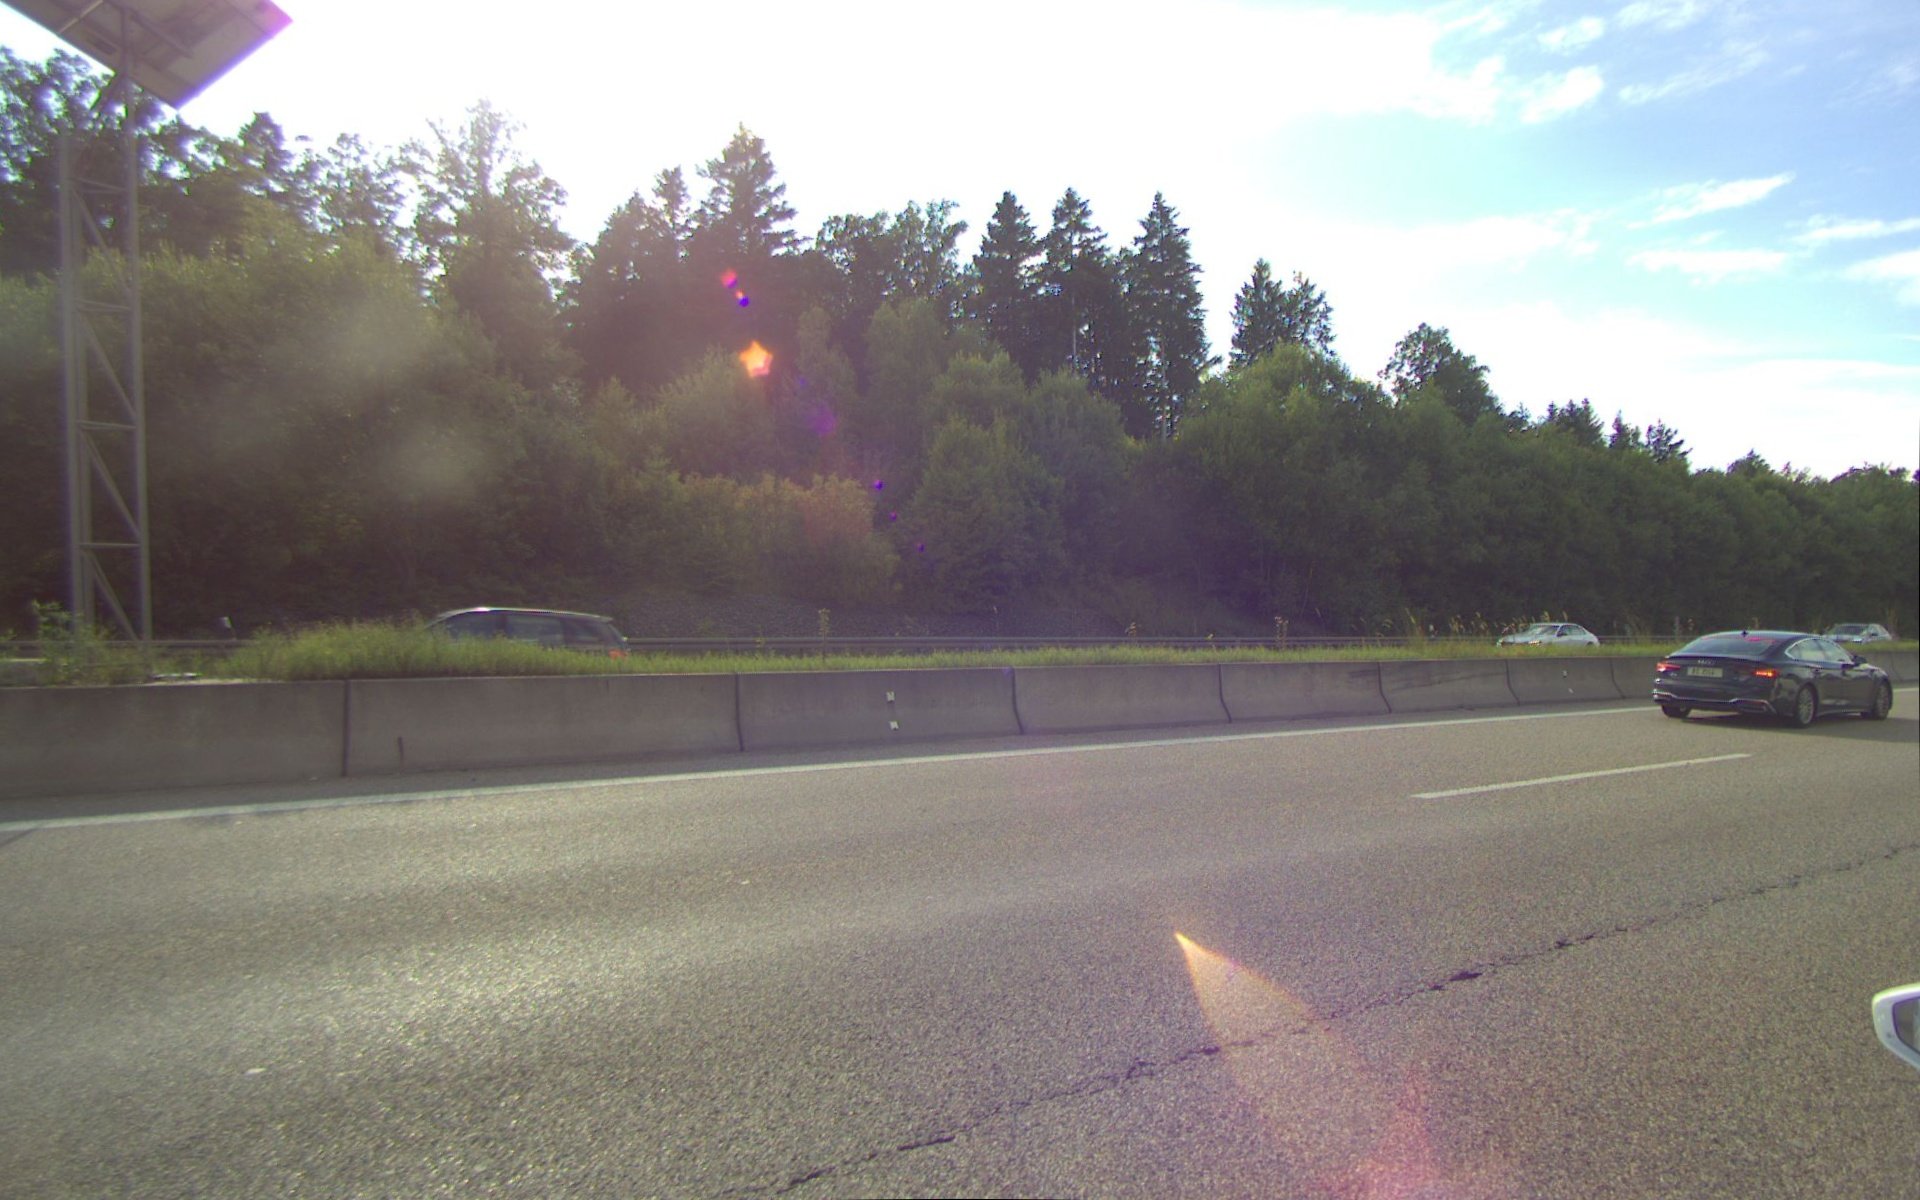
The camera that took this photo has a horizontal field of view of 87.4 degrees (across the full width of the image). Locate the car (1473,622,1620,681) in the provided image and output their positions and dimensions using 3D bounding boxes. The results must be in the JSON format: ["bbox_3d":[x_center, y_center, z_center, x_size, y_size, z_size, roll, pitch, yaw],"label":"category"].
[{"bbox_3d":[23.536,2.018,40.252,5.896,2.167,2.567,1,-1,-30],"label":"car"}]

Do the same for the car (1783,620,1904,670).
[{"bbox_3d":[41.466,2.073,47.128,5.896,2.167,2.567,1,-1,-30],"label":"car"}]

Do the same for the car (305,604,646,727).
[{"bbox_3d":[-6.569,0.817,13.828,3.953,1.472,1.984,1,-1,-30],"label":"car"}]

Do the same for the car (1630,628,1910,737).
[{"bbox_3d":[12.712,1.182,15.697,4.784,1.450,1.847,1,-1,-30],"label":"car"}]
